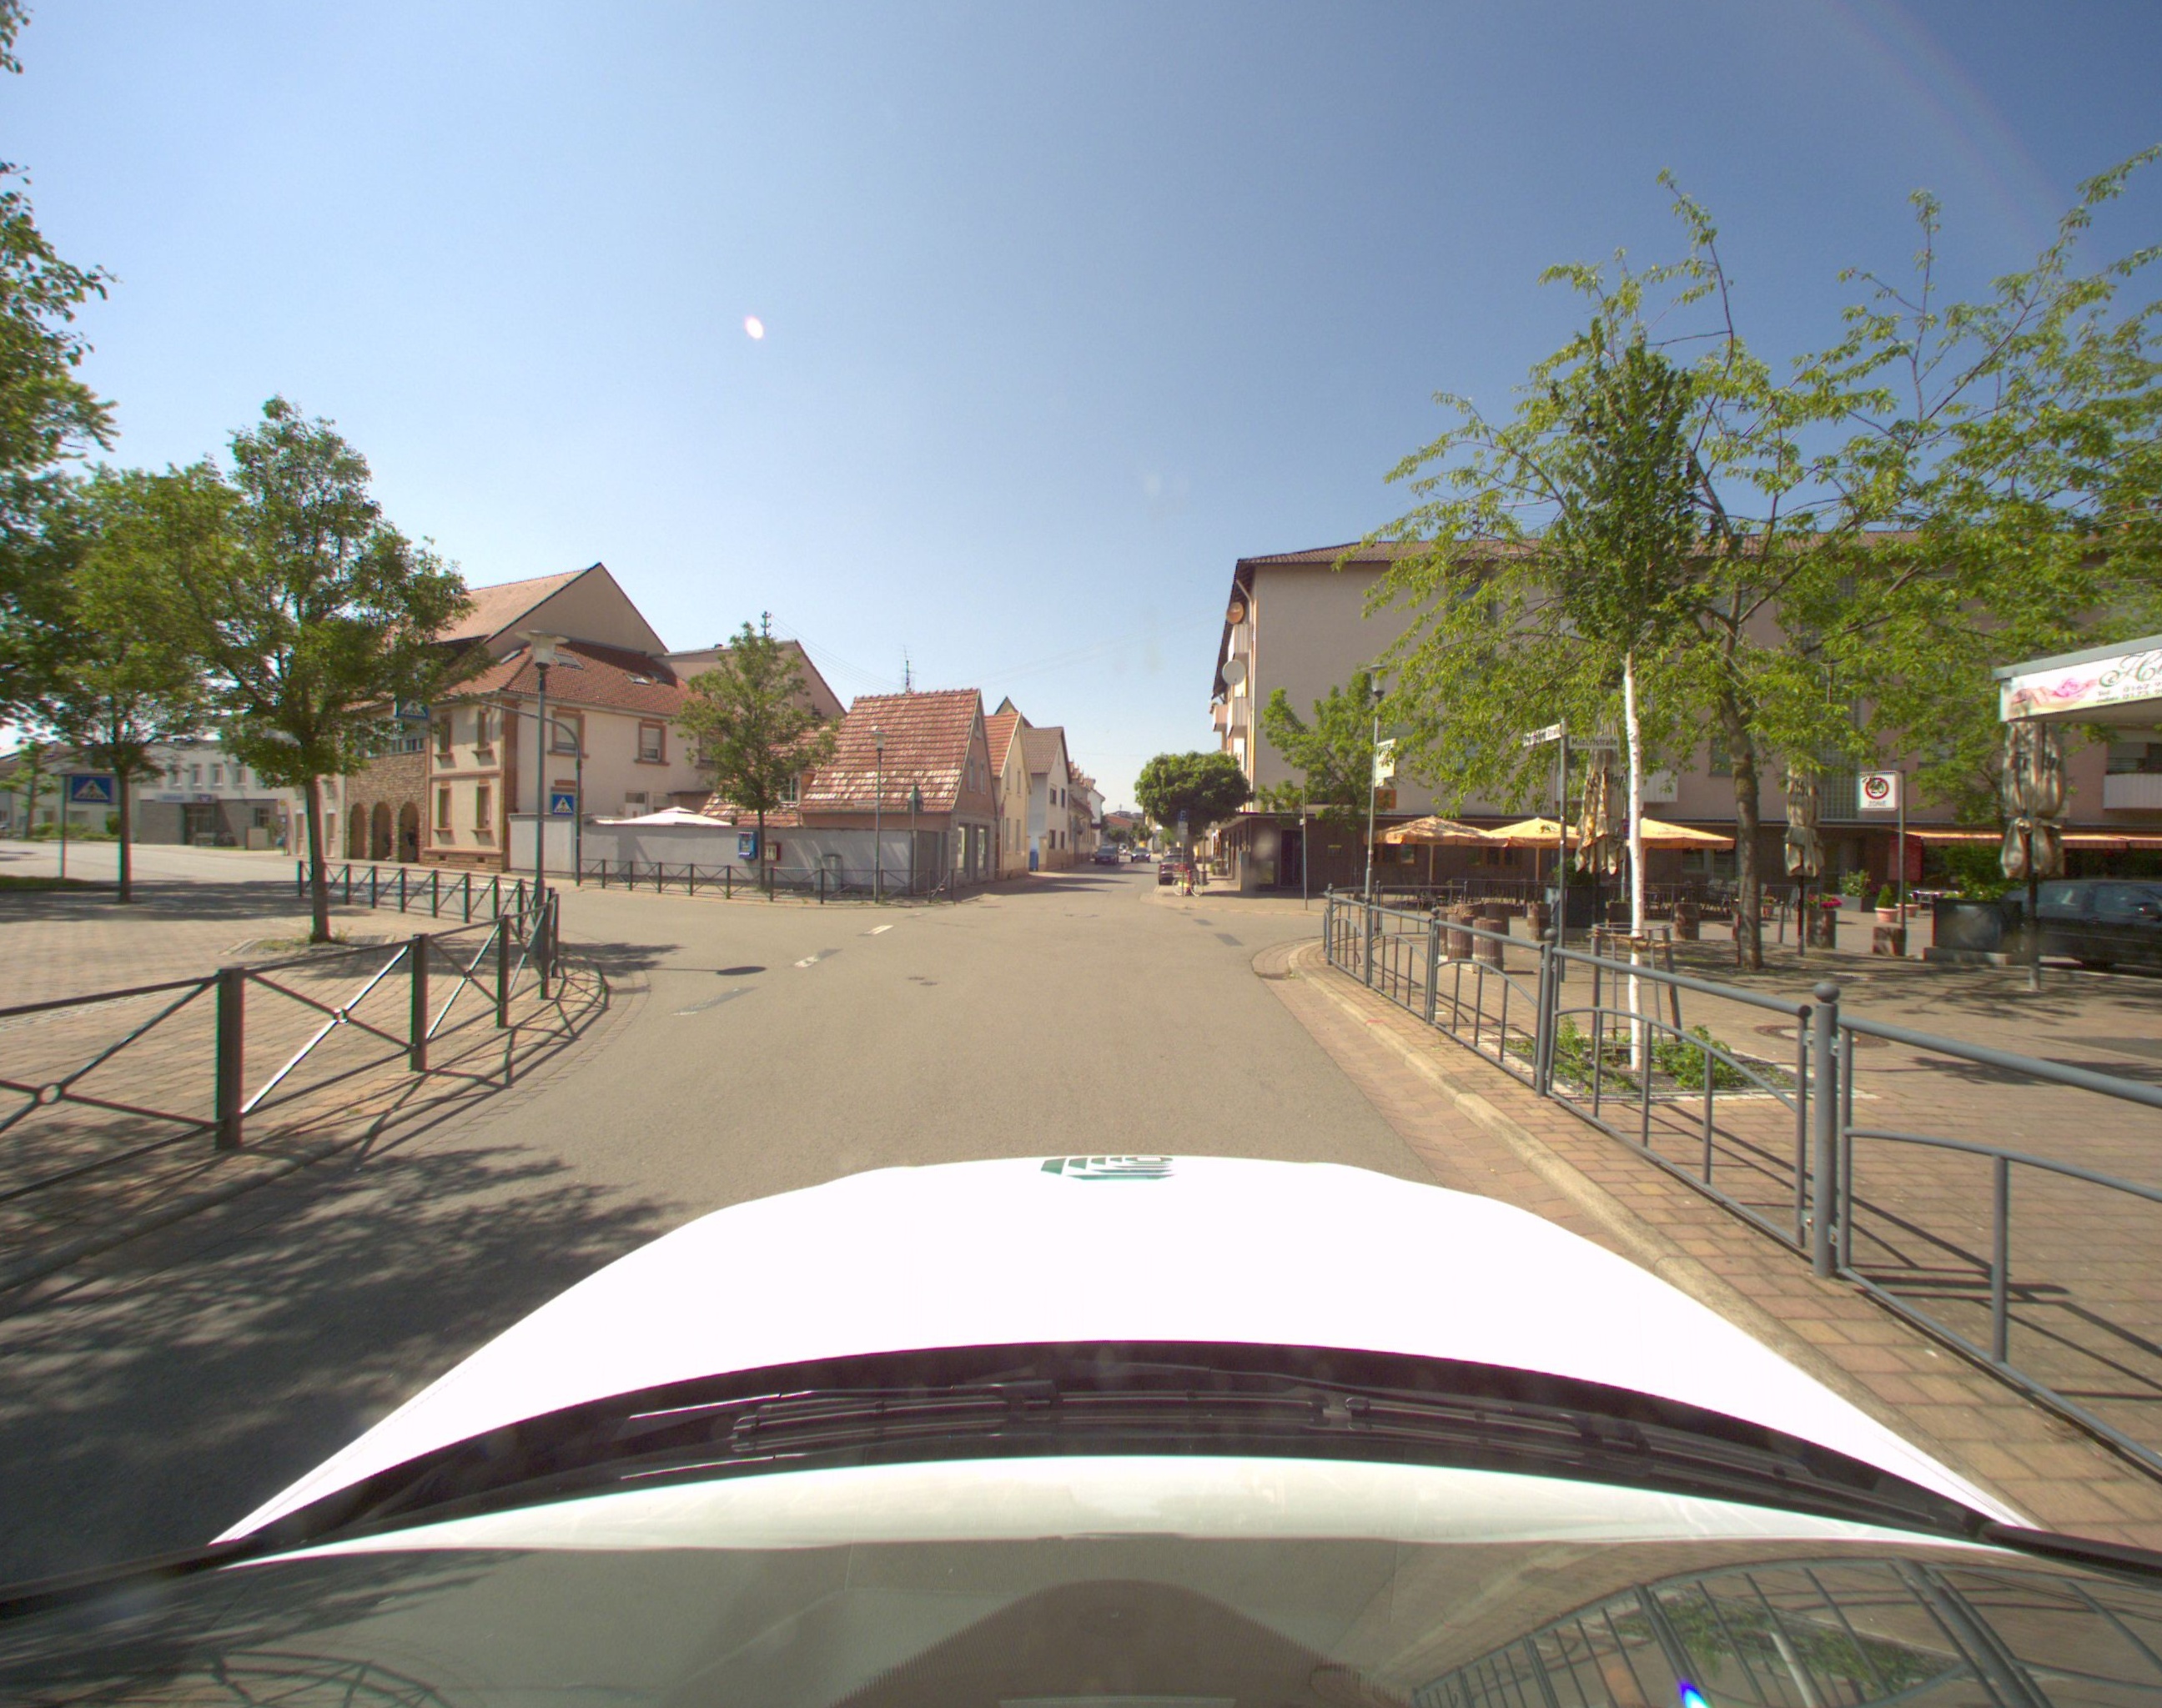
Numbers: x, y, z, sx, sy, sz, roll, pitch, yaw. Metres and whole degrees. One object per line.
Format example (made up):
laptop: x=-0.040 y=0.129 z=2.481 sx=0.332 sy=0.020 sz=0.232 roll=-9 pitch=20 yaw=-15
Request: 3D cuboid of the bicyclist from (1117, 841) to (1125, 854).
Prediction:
bicyclist: x=5.310 y=-0.851 z=107.334 sx=1.043 sy=1.637 sz=1.128 roll=0 pitch=0 yaw=0

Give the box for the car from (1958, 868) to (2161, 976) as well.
car: x=16.512 y=1.023 z=12.547 sx=1.761 sy=1.510 sz=3.971 roll=1 pitch=0 yaw=0

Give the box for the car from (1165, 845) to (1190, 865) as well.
car: x=8.415 y=0.088 z=71.141 sx=2.032 sy=1.689 sz=4.850 roll=0 pitch=1 yaw=6

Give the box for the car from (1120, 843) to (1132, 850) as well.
car: x=10.620 y=-1.797 z=193.336 sx=2.013 sy=1.598 sz=4.525 roll=0 pitch=1 yaw=13

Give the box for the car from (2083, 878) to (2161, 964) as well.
car: x=19.098 y=1.135 z=12.764 sx=1.772 sy=1.431 sz=4.111 roll=0 pitch=-1 yaw=1

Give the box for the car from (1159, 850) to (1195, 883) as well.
car: x=4.460 y=0.530 z=37.440 sx=1.567 sy=1.454 sz=3.494 roll=0 pitch=0 yaw=8

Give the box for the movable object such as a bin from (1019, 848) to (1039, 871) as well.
movable object such as a bin: x=-3.067 y=0.318 z=47.860 sx=1.095 sy=1.365 sz=0.391 roll=0 pitch=0 yaw=9

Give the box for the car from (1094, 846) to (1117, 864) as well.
car: x=2.133 y=0.038 z=68.898 sx=1.655 sy=1.476 sz=4.141 roll=0 pitch=1 yaw=6

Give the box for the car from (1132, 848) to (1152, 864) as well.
car: x=5.898 y=0.189 z=78.749 sx=1.900 sy=1.481 sz=4.850 roll=0 pitch=0 yaw=4

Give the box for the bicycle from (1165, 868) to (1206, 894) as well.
bicycle: x=3.692 y=0.948 z=28.833 sx=1.396 sy=0.897 sz=0.468 roll=0 pitch=1 yaw=43

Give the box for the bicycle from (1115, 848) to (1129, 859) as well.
bicycle: x=5.344 y=-0.103 z=107.257 sx=1.618 sy=1.370 sz=3.926 roll=0 pitch=1 yaw=0
